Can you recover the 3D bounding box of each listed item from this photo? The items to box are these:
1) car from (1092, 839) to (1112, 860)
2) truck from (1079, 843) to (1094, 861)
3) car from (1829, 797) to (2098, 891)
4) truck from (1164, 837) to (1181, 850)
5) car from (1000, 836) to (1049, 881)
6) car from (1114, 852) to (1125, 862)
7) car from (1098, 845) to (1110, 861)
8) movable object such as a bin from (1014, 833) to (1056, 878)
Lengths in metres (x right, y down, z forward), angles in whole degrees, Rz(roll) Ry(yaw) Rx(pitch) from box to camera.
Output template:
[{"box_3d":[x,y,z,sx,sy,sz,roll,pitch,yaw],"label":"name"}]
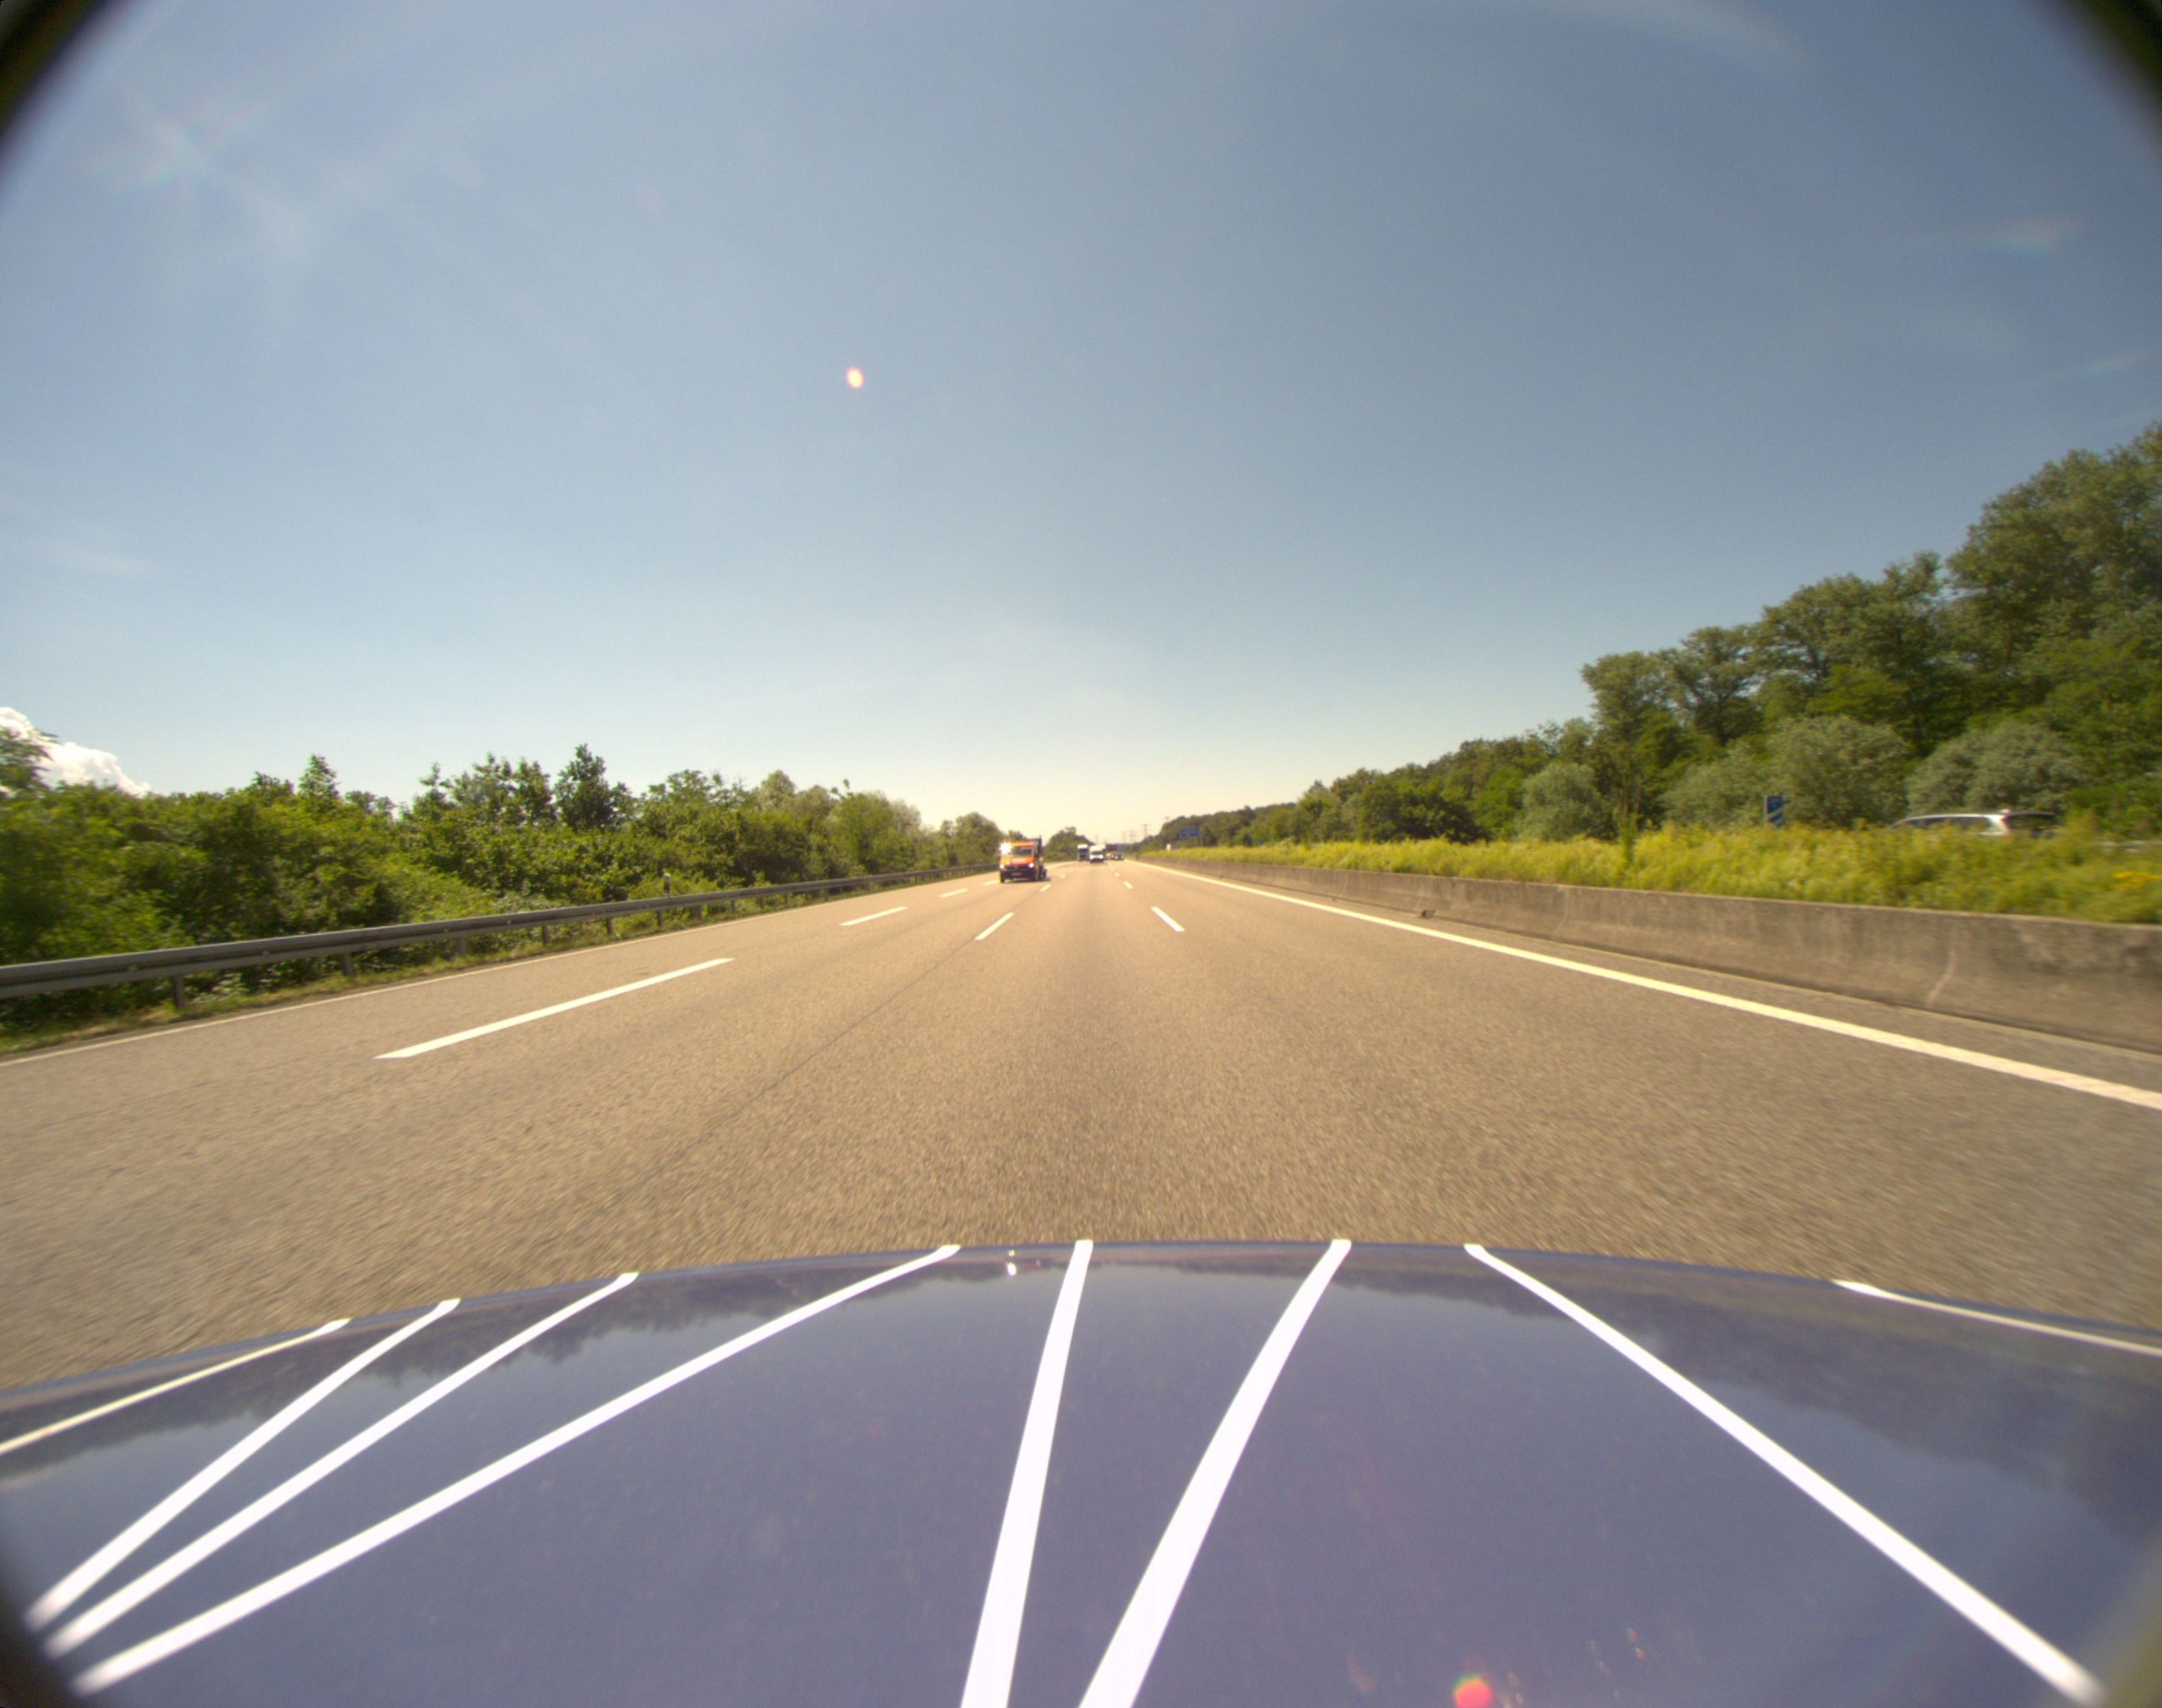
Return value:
[{"box_3d":[3.200,-0.598,114.646,2.521,2.857,6.402,-6,0,4],"label":"car"},{"box_3d":[1.388,-0.498,186.787,2.990,4.187,7.595,-3,0,4],"label":"truck"},{"box_3d":[21.426,-0.226,18.746,1.998,2.002,4.000,-2,1,1],"label":"car"},{"box_3d":[28.350,-3.227,236.208,3.607,3.713,17.486,-3,0,1],"label":"truck"},{"box_3d":[-3.288,0.246,45.694,1.998,2.391,7.228,-3,0,3],"label":"car"},{"box_3d":[7.992,0.596,157.668,1.999,2.001,4.000,-2,-1,0],"label":"car"},{"box_3d":[6.163,-0.329,202.120,2.797,4.090,7.305,-3,1,0],"label":"car"},{"box_3d":[-3.060,0.103,51.720,2.179,2.799,4.762,-3,0,3],"label":"movable object such as a bin"}]
